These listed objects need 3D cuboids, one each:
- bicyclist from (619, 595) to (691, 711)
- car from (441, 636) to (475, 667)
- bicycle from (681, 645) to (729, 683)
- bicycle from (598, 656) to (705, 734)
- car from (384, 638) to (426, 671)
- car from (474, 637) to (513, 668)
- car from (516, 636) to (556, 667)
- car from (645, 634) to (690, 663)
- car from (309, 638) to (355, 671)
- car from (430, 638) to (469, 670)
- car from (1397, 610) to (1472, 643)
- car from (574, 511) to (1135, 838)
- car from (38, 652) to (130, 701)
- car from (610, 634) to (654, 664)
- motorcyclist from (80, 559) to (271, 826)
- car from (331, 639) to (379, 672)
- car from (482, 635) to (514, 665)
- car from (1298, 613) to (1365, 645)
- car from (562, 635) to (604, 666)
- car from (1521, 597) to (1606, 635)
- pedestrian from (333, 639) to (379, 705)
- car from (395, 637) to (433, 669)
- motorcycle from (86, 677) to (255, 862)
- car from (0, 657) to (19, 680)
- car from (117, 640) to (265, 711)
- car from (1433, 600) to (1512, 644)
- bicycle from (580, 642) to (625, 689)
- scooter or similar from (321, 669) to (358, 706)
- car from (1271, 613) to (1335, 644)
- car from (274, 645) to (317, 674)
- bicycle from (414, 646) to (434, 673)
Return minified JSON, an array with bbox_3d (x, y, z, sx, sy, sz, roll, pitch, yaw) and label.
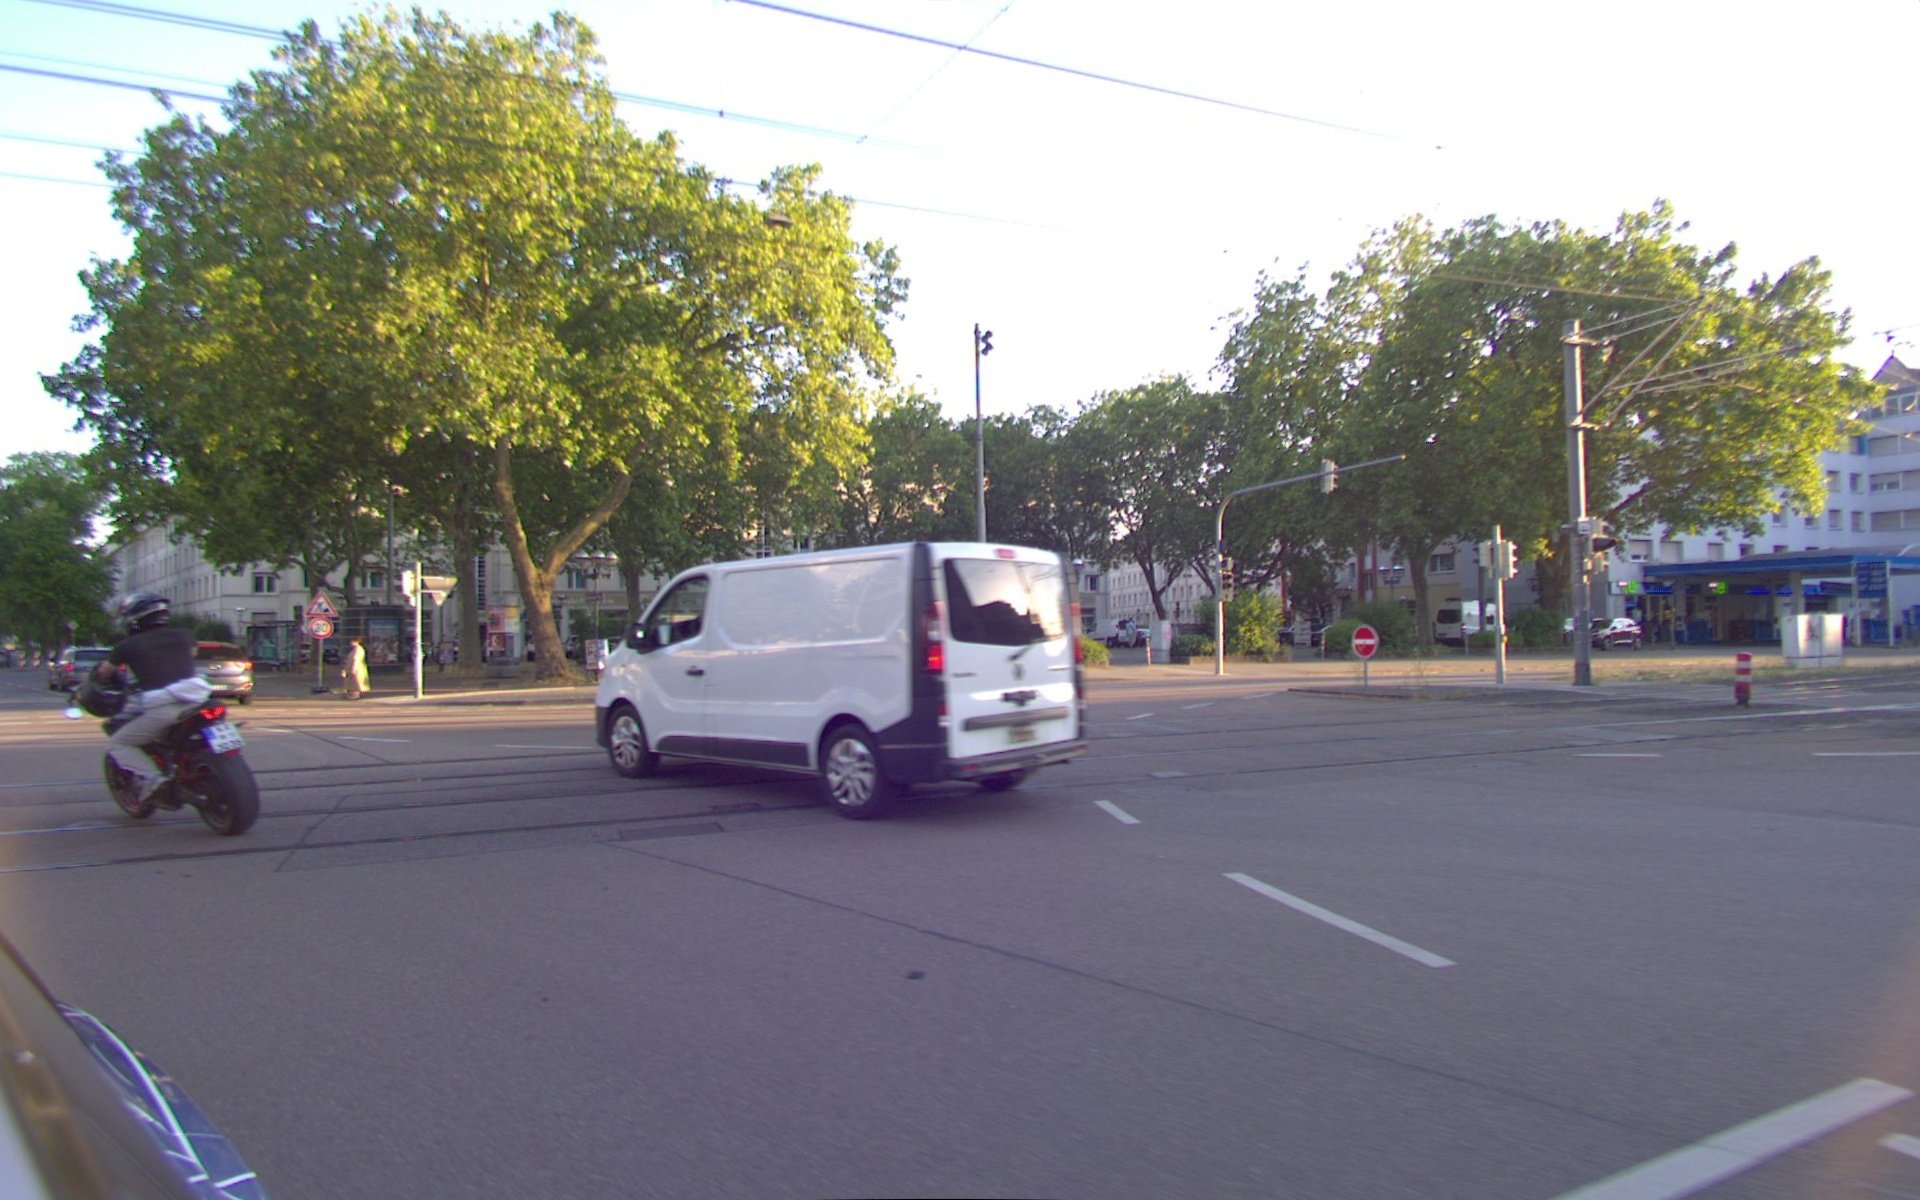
[{"bbox_3d":[-4.528,0.770,15.019,0.963,1.657,0.593,-2,-1,41],"label":"bicyclist"},{"bbox_3d":[-34.674,3.511,69.990,1.965,1.970,4.656,1,-1,-25],"label":"car"},{"bbox_3d":[-7.780,1.934,30.854,1.798,1.101,0.453,-2,-1,41],"label":"bicycle"},{"bbox_3d":[-4.656,1.395,15.197,1.945,1.051,0.593,-2,-1,42],"label":"bicycle"},{"bbox_3d":[-32.626,3.231,59.553,1.965,1.795,4.655,1,-4,-27],"label":"car"},{"bbox_3d":[-28.319,3.217,61.335,1.965,1.795,4.655,1,-4,-27],"label":"car"},{"bbox_3d":[-26.120,3.193,62.268,1.965,1.795,4.655,1,-4,-27],"label":"car"},{"bbox_3d":[-19.175,3.211,66.236,1.965,1.795,4.655,1,-4,-27],"label":"car"},{"bbox_3d":[-41.284,3.575,66.653,1.965,1.970,4.656,1,-1,-25],"label":"car"},{"bbox_3d":[-30.444,3.237,60.394,1.965,1.795,4.655,1,-4,-27],"label":"car"},{"bbox_3d":[28.322,1.558,60.452,3.931,1.863,1.924,-1,-1,-25],"label":"car"},{"bbox_3d":[-1.158,0.545,8.685,4.948,2.029,1.972,-2,-3,42],"label":"car"},{"bbox_3d":[-30.194,2.577,34.832,4.770,1.570,1.971,-3,-4,44],"label":"car"},{"bbox_3d":[-21.058,3.155,64.871,1.965,1.795,4.655,1,-4,-27],"label":"car"},{"bbox_3d":[-5.372,0.582,6.928,0.963,1.657,0.865,-2,-1,41],"label":"motorcyclist"},{"bbox_3d":[-34.712,3.219,58.156,1.965,1.795,4.655,1,-4,-27],"label":"car"},{"bbox_3d":[-32.354,3.471,70.921,1.965,1.970,4.656,1,-1,-25],"label":"car"},{"bbox_3d":[25.064,1.943,68.310,3.931,2.029,2.006,-1,-1,-26],"label":"car"},{"bbox_3d":[-23.671,3.190,63.447,1.965,1.795,4.655,1,-4,-27],"label":"car"},{"bbox_3d":[31.648,0.821,53.085,3.931,1.863,1.924,-1,-1,-25],"label":"car"},{"bbox_3d":[-15.718,1.855,26.335,0.772,1.640,0.794,-2,-1,38],"label":"pedestrian"},{"bbox_3d":[-37.116,3.551,68.877,1.965,1.970,4.656,1,-1,-25],"label":"car"},{"bbox_3d":[-5.571,1.109,7.092,1.945,1.051,0.593,-2,-1,42],"label":"motorcycle"},{"bbox_3d":[-72.845,5.219,76.970,1.866,1.612,4.004,0,-1,-42],"label":"car"},{"bbox_3d":[-17.999,1.716,23.625,4.138,1.488,1.972,-3,-3,42],"label":"car"},{"bbox_3d":[29.349,1.248,57.961,3.931,2.361,2.006,-1,-1,-25],"label":"car"},{"bbox_3d":[-10.806,1.965,30.560,0.519,1.336,1.996,0,-1,-42],"label":"bicycle"},{"bbox_3d":[-16.407,2.309,26.759,0.850,0.904,0.585,-2,-1,37],"label":"scooter or similar"},{"bbox_3d":[23.933,2.003,70.581,3.931,2.029,2.006,-1,-1,-26],"label":"car"},{"bbox_3d":[-37.649,3.384,57.370,1.966,1.515,4.653,2,-5,-33],"label":"car"},{"bbox_3d":[-29.605,3.256,55.918,0.680,1.394,2.754,-1,-1,-23],"label":"bicycle"}]
